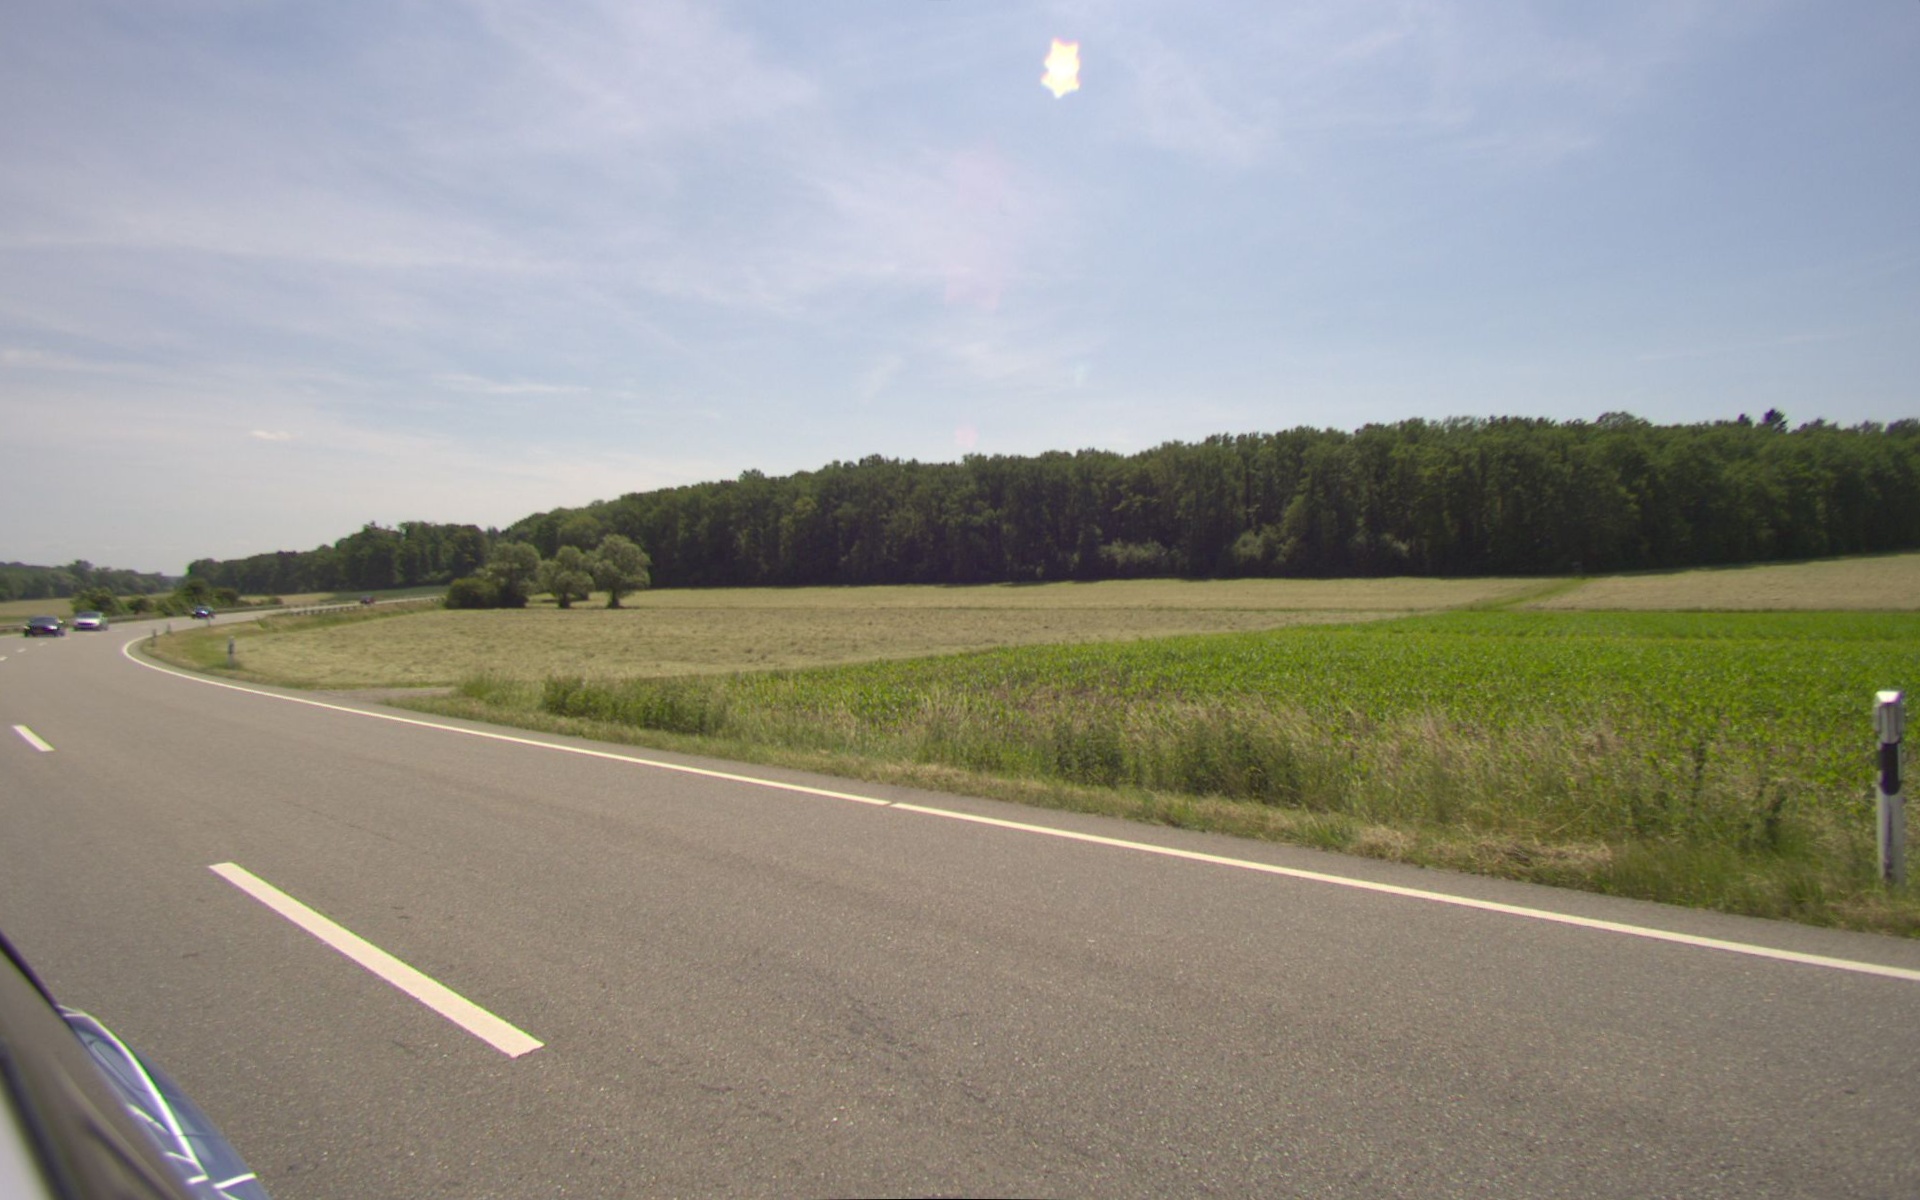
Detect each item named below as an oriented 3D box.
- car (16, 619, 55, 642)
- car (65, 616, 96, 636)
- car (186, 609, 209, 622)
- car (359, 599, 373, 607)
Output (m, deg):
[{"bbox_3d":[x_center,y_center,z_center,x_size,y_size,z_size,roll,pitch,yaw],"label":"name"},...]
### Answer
[{"bbox_3d":[-63.491,2.053,69.524,1.596,1.447,3.451,-1,0,-37],"label":"car"},{"bbox_3d":[-73.676,2.151,84.795,1.596,1.447,3.451,-1,2,-36],"label":"car"},{"bbox_3d":[-94.381,1.919,125.339,1.594,1.447,3.455,-1,1,-25],"label":"car"},{"bbox_3d":[-119.654,0.536,203.892,1.595,1.447,3.454,0,1,-17],"label":"car"}]
